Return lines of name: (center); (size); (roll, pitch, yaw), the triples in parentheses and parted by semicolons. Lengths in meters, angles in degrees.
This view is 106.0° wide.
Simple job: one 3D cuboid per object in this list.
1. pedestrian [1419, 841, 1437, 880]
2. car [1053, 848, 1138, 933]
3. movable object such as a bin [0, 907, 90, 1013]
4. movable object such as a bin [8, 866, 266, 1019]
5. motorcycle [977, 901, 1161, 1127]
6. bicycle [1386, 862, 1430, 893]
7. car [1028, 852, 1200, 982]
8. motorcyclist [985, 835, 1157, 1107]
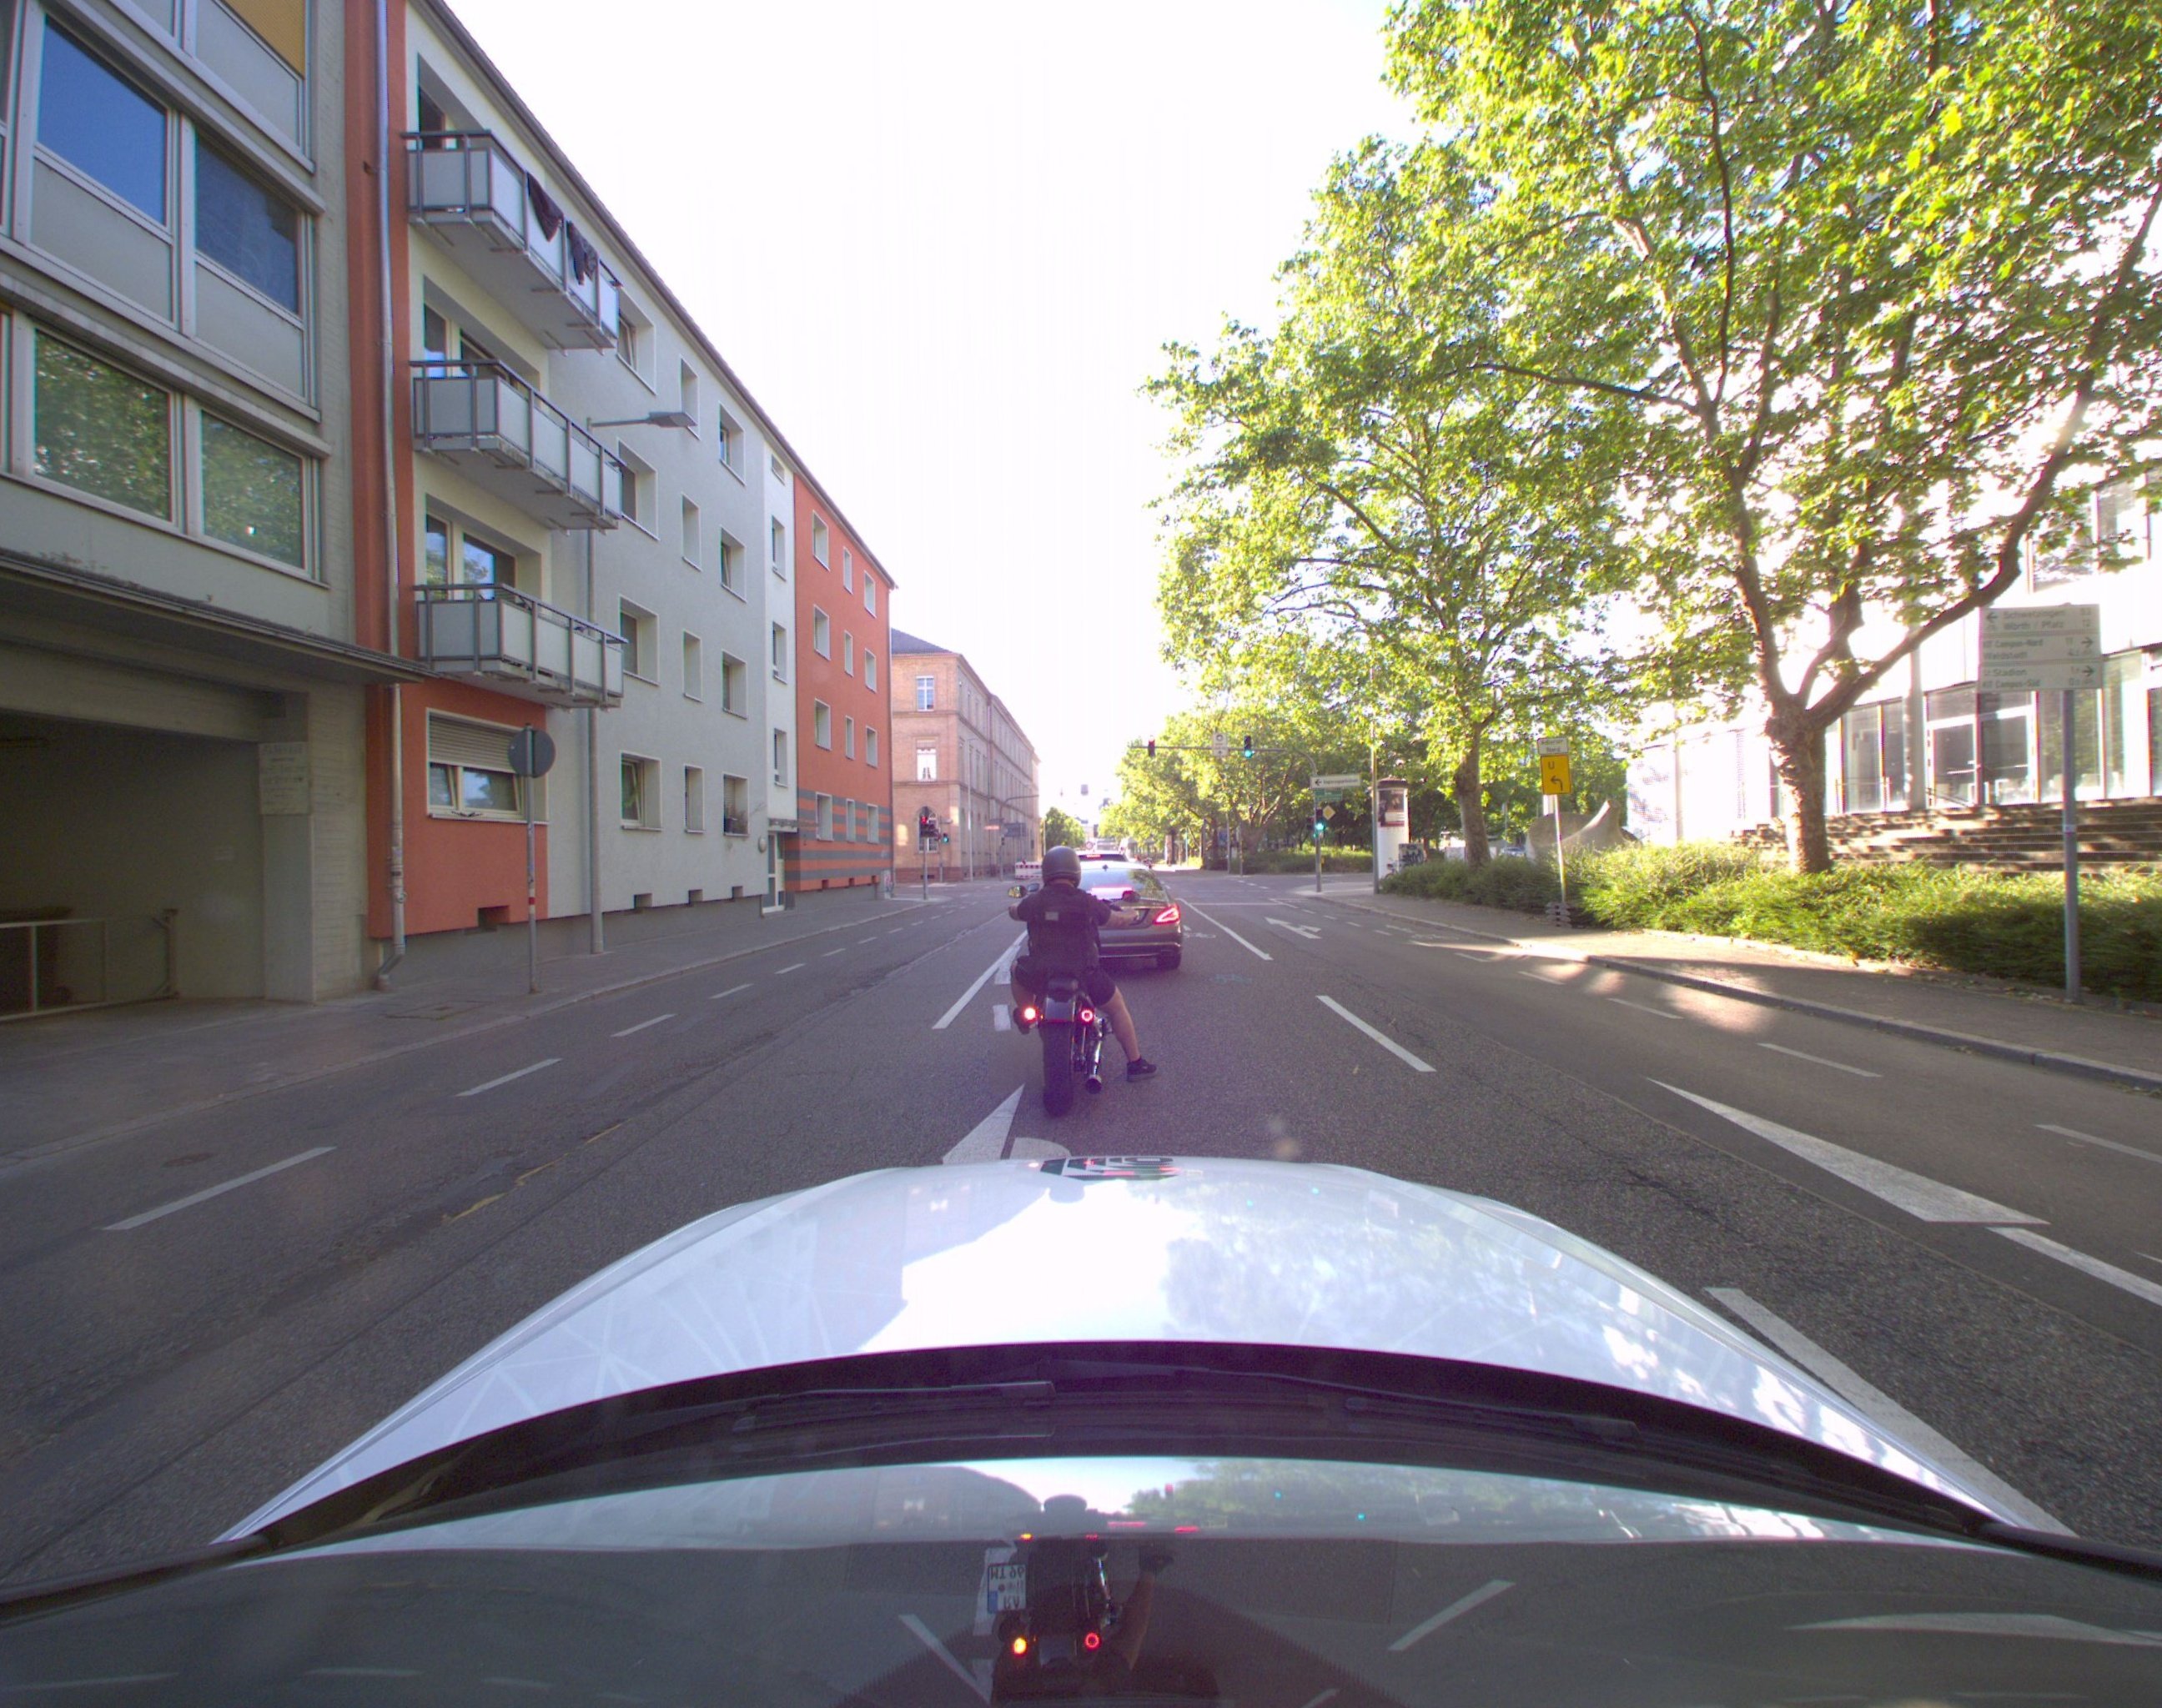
pedestrian: (16.447, 0.316, 38.619); (0.549, 1.849, 0.594); (-1, 0, 3)
car: (0.320, 0.698, 17.903); (1.606, 1.607, 4.329); (-1, 0, 1)
movable object such as a bin: (-11.317, 1.108, 8.697); (0.593, 1.041, 0.703); (0, -1, 1)
movable object such as a bin: (-9.627, 0.862, 8.381); (1.322, 1.430, 1.134); (-1, 0, 3)
motorcycle: (-0.029, 0.952, 5.695); (0.986, 1.078, 2.453); (-1, 0, 2)
bicycle: (11.043, 0.782, 27.509); (1.346, 1.023, 0.363); (-1, 0, 2)
car: (0.256, 0.735, 11.734); (1.943, 1.473, 4.355); (-1, 0, -5)
motorcyclist: (-0.037, 0.693, 5.542); (0.986, 1.597, 1.404); (-1, 0, 2)
